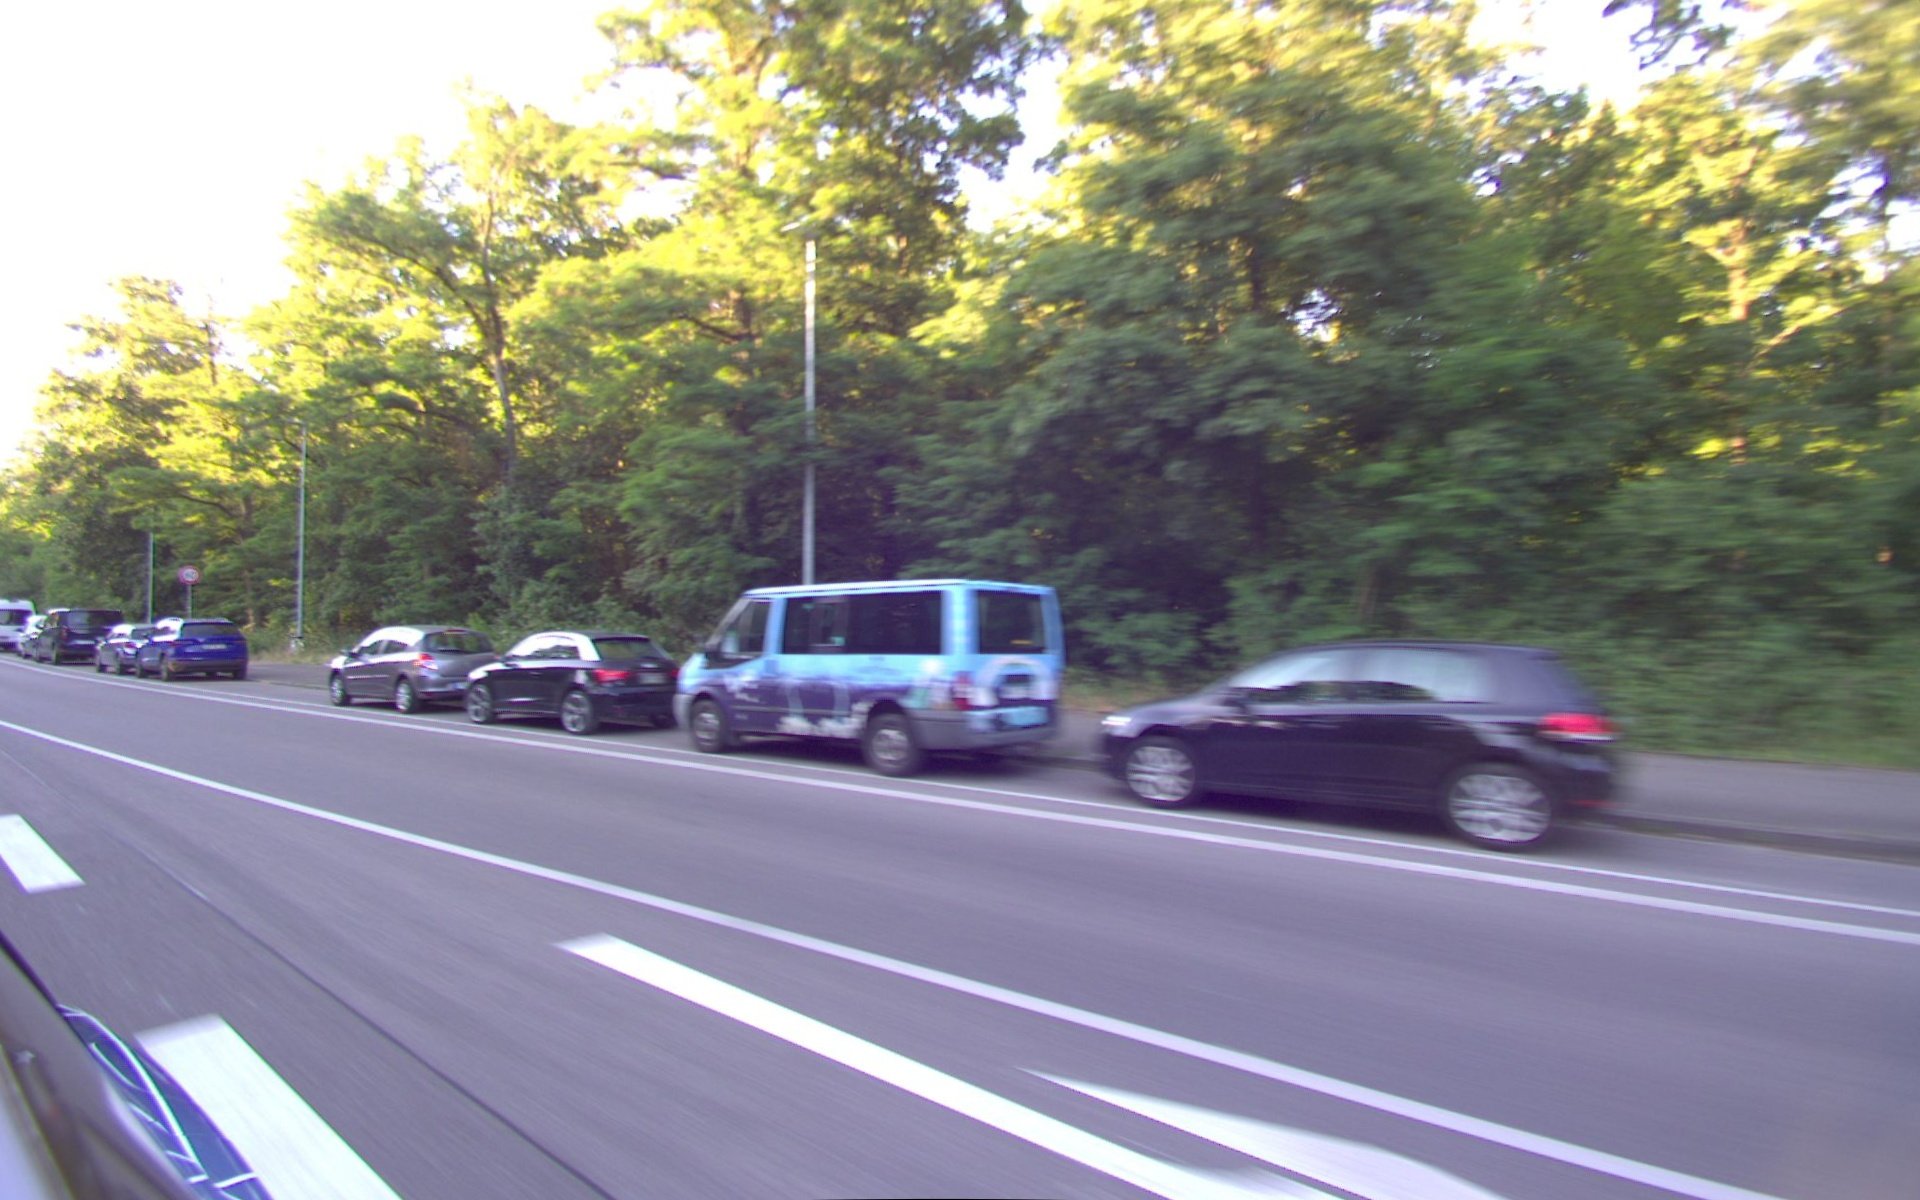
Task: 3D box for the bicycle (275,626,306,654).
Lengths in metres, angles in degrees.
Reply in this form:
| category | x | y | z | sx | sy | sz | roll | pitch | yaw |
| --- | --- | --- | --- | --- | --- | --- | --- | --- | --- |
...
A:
| category | x | y | z | sx | sy | sz | roll | pitch | yaw |
| --- | --- | --- | --- | --- | --- | --- | --- | --- | --- |
| bicycle | -24.272 | 1.453 | 36.681 | 1.717 | 0.982 | 0.448 | -1 | -3 | 41 |

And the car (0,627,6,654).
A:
| category | x | y | z | sx | sy | sz | roll | pitch | yaw |
| --- | --- | --- | --- | --- | --- | --- | --- | --- | --- |
| car | -54.356 | 2.223 | 56.187 | 4.387 | 1.441 | 1.697 | -2 | -3 | 42 |

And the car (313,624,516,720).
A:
| category | x | y | z | sx | sy | sz | roll | pitch | yaw |
| --- | --- | --- | --- | --- | --- | --- | --- | --- | --- |
| car | -9.825 | 1.217 | 18.146 | 4.032 | 1.546 | 1.602 | -1 | -3 | 36 |

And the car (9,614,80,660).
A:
| category | x | y | z | sx | sy | sz | roll | pitch | yaw |
| --- | --- | --- | --- | --- | --- | --- | --- | --- | --- |
| car | -40.659 | 1.580 | 44.924 | 4.382 | 1.872 | 1.671 | 0 | 0 | 38 |

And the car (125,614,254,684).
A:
| category | x | y | z | sx | sy | sz | roll | pitch | yaw |
| --- | --- | --- | --- | --- | --- | --- | --- | --- | --- |
| car | -20.664 | 1.277 | 27.075 | 4.518 | 1.725 | 1.727 | -1 | -3 | 39 |

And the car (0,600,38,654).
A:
| category | x | y | z | sx | sy | sz | roll | pitch | yaw |
| --- | --- | --- | --- | --- | --- | --- | --- | --- | --- |
| car | -49.816 | 1.408 | 52.471 | 7.085 | 2.626 | 2.057 | -2 | -5 | 41 |

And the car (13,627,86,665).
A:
| category | x | y | z | sx | sy | sz | roll | pitch | yaw |
| --- | --- | --- | --- | --- | --- | --- | --- | --- | --- |
| car | -37.192 | 1.861 | 41.328 | 4.445 | 1.444 | 1.652 | -2 | -4 | 41 |

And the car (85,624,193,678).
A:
| category | x | y | z | sx | sy | sz | roll | pitch | yaw |
| --- | --- | --- | --- | --- | --- | --- | --- | --- | --- |
| car | -24.583 | 1.494 | 30.256 | 4.242 | 1.513 | 1.652 | -1 | -3 | 39 |

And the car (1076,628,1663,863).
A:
| category | x | y | z | sx | sy | sz | roll | pitch | yaw |
| --- | --- | --- | --- | --- | --- | --- | --- | --- | --- |
| car | 3.215 | 0.992 | 8.369 | 4.235 | 1.473 | 1.672 | -1 | -3 | 36 |

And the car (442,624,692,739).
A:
| category | x | y | z | sx | sy | sz | roll | pitch | yaw |
| --- | --- | --- | --- | --- | --- | --- | --- | --- | --- |
| car | -5.937 | 1.135 | 15.124 | 3.963 | 1.505 | 1.529 | -1 | -3 | 35 |

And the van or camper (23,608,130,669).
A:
| category | x | y | z | sx | sy | sz | roll | pitch | yaw |
| --- | --- | --- | --- | --- | --- | --- | --- | --- | --- |
| van or camper | -32.150 | 1.408 | 36.776 | 5.455 | 2.033 | 1.982 | -1 | -4 | 39 |

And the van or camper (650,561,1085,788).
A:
| category | x | y | z | sx | sy | sz | roll | pitch | yaw |
| --- | --- | --- | --- | --- | --- | --- | --- | --- | --- |
| van or camper | -1.220 | 0.774 | 11.772 | 5.006 | 2.110 | 2.012 | -1 | -3 | 38 |
